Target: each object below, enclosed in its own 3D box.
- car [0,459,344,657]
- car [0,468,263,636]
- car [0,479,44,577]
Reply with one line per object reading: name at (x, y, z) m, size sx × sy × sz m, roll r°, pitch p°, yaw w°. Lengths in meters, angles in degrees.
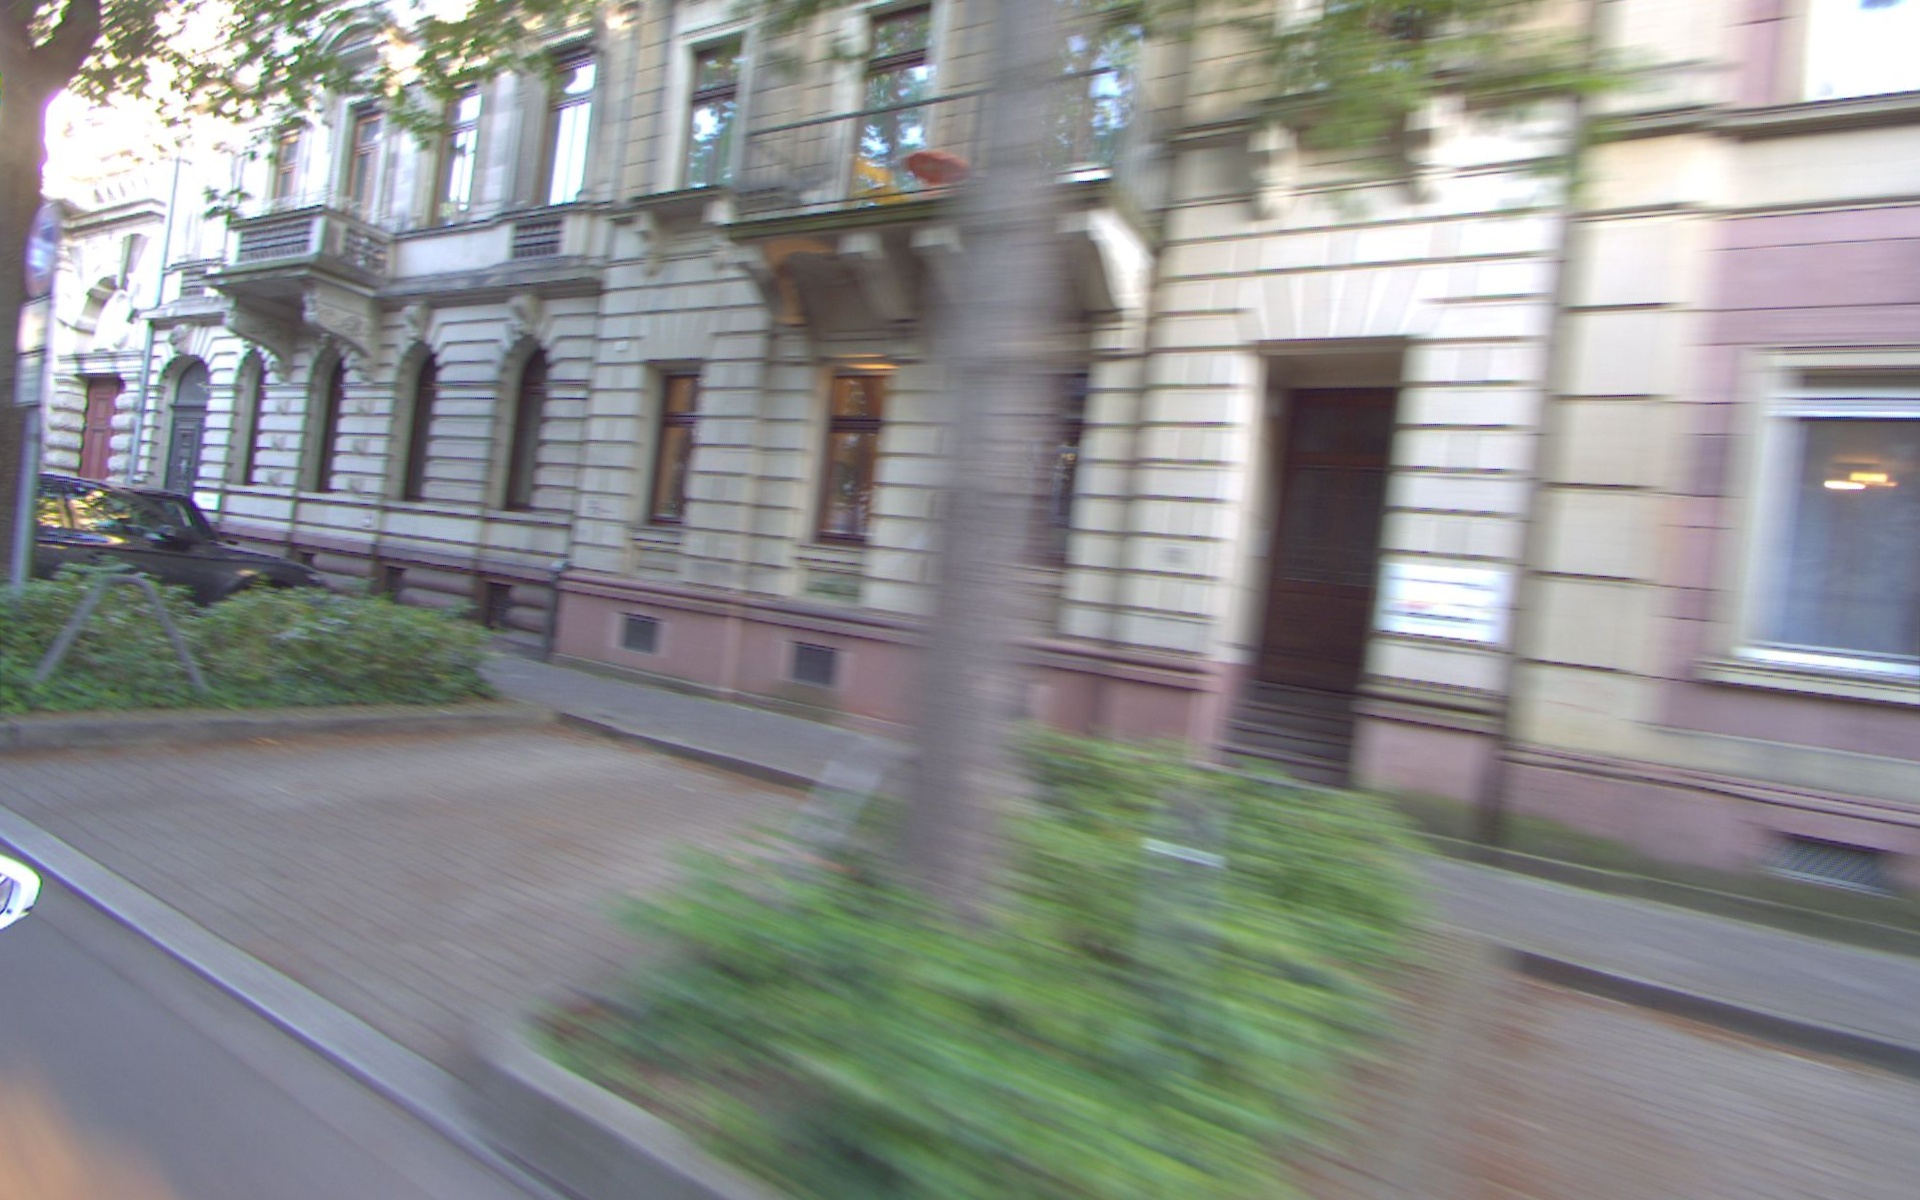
car at (-9.095, -0.432, 10.137) m, size 1.935 × 1.739 × 4.445 m, roll 6°, pitch 0°, yaw 31°
car at (-10.914, -0.627, 11.823) m, size 1.735 × 1.707 × 4.014 m, roll 8°, pitch 0°, yaw 31°
car at (-16.620, -1.290, 14.838) m, size 1.824 × 1.500 × 4.226 m, roll 7°, pitch 1°, yaw 31°
